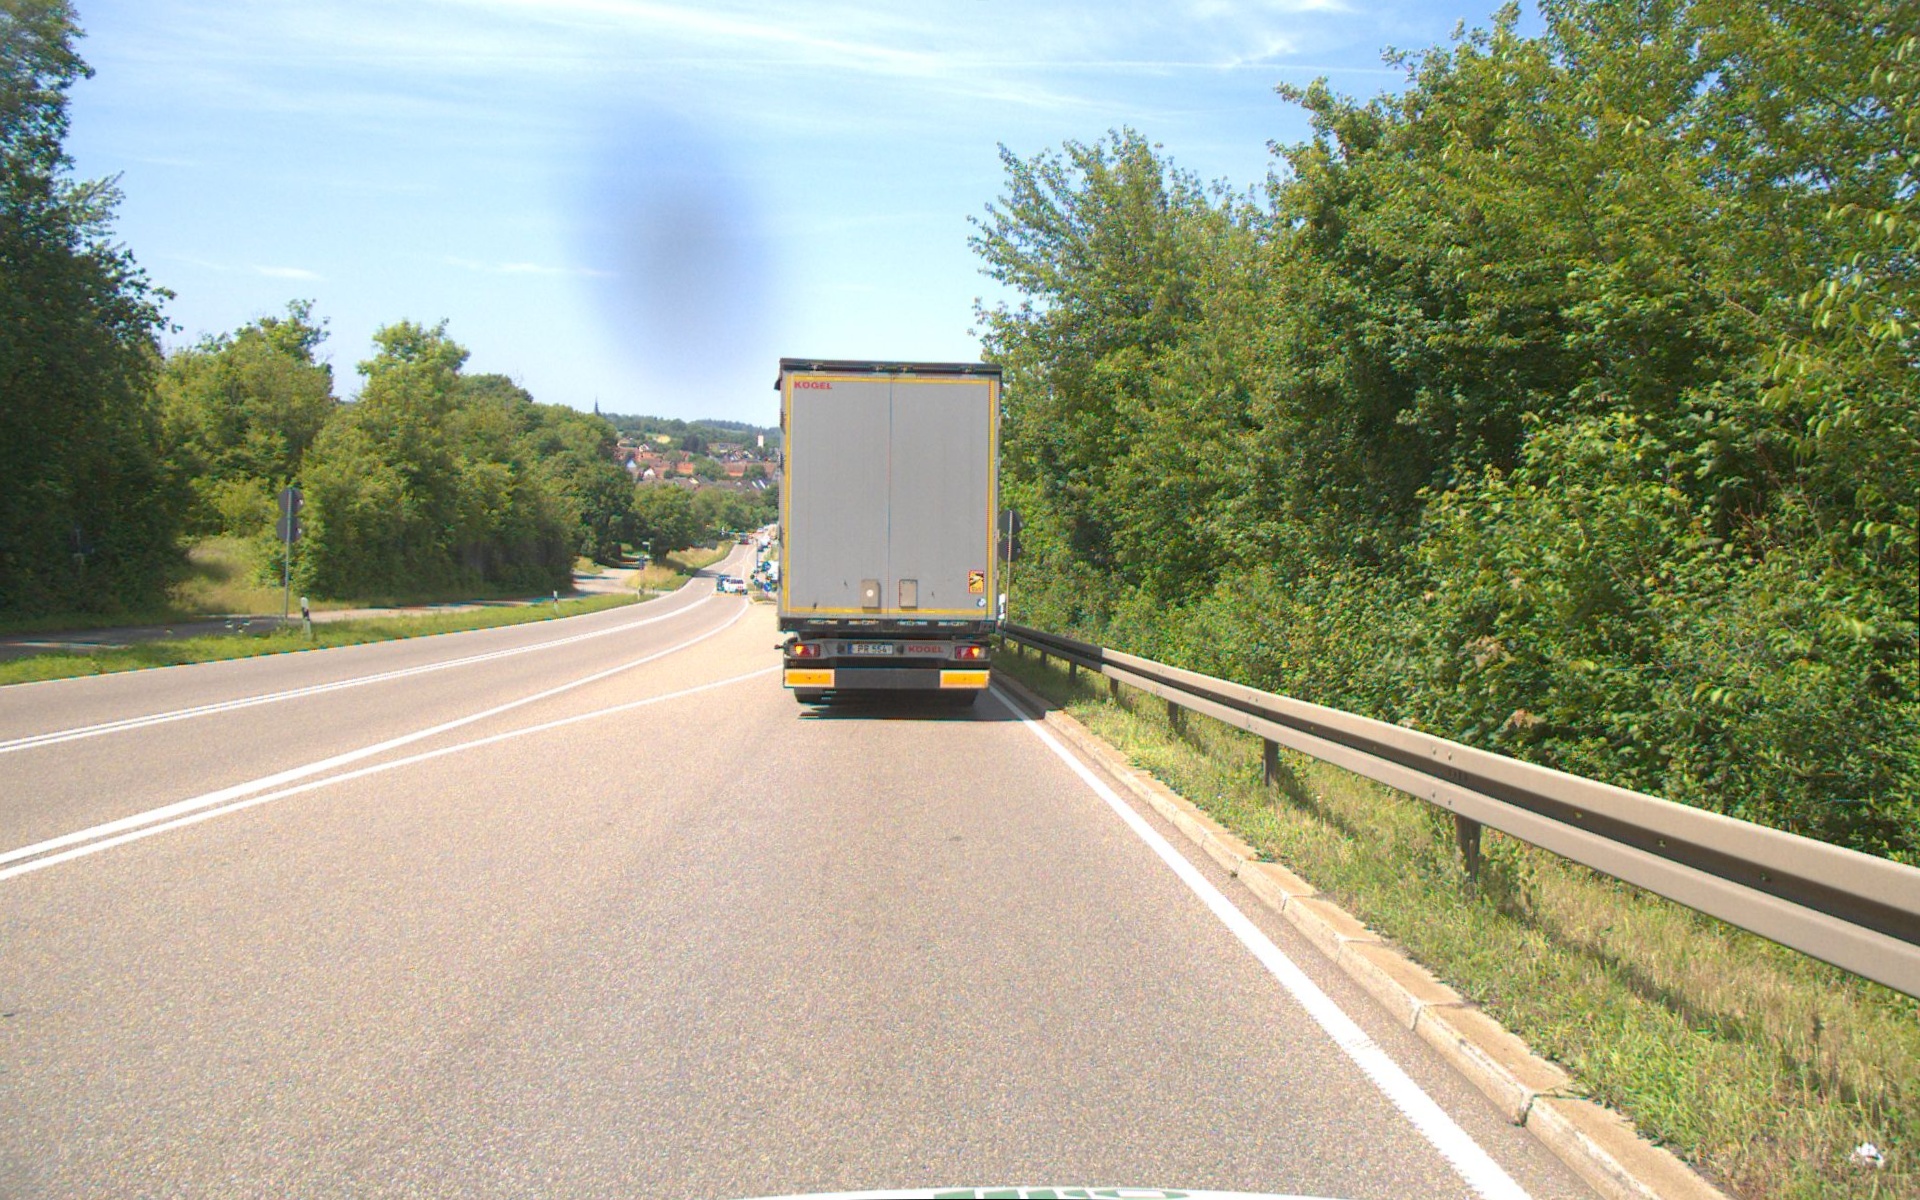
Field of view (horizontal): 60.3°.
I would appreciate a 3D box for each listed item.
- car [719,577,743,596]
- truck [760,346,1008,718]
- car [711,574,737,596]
[{"bbox_3d":[-22.665,-1.332,163.821,1.777,1.825,3.823,1,0,-17],"label":"car"},{"bbox_3d":[-1.076,-0.810,24.372,2.702,4.100,11.918,1,0,-2],"label":"truck"},{"bbox_3d":[-22.489,-1.423,157.420,1.737,1.959,3.728,1,0,-19],"label":"car"}]
